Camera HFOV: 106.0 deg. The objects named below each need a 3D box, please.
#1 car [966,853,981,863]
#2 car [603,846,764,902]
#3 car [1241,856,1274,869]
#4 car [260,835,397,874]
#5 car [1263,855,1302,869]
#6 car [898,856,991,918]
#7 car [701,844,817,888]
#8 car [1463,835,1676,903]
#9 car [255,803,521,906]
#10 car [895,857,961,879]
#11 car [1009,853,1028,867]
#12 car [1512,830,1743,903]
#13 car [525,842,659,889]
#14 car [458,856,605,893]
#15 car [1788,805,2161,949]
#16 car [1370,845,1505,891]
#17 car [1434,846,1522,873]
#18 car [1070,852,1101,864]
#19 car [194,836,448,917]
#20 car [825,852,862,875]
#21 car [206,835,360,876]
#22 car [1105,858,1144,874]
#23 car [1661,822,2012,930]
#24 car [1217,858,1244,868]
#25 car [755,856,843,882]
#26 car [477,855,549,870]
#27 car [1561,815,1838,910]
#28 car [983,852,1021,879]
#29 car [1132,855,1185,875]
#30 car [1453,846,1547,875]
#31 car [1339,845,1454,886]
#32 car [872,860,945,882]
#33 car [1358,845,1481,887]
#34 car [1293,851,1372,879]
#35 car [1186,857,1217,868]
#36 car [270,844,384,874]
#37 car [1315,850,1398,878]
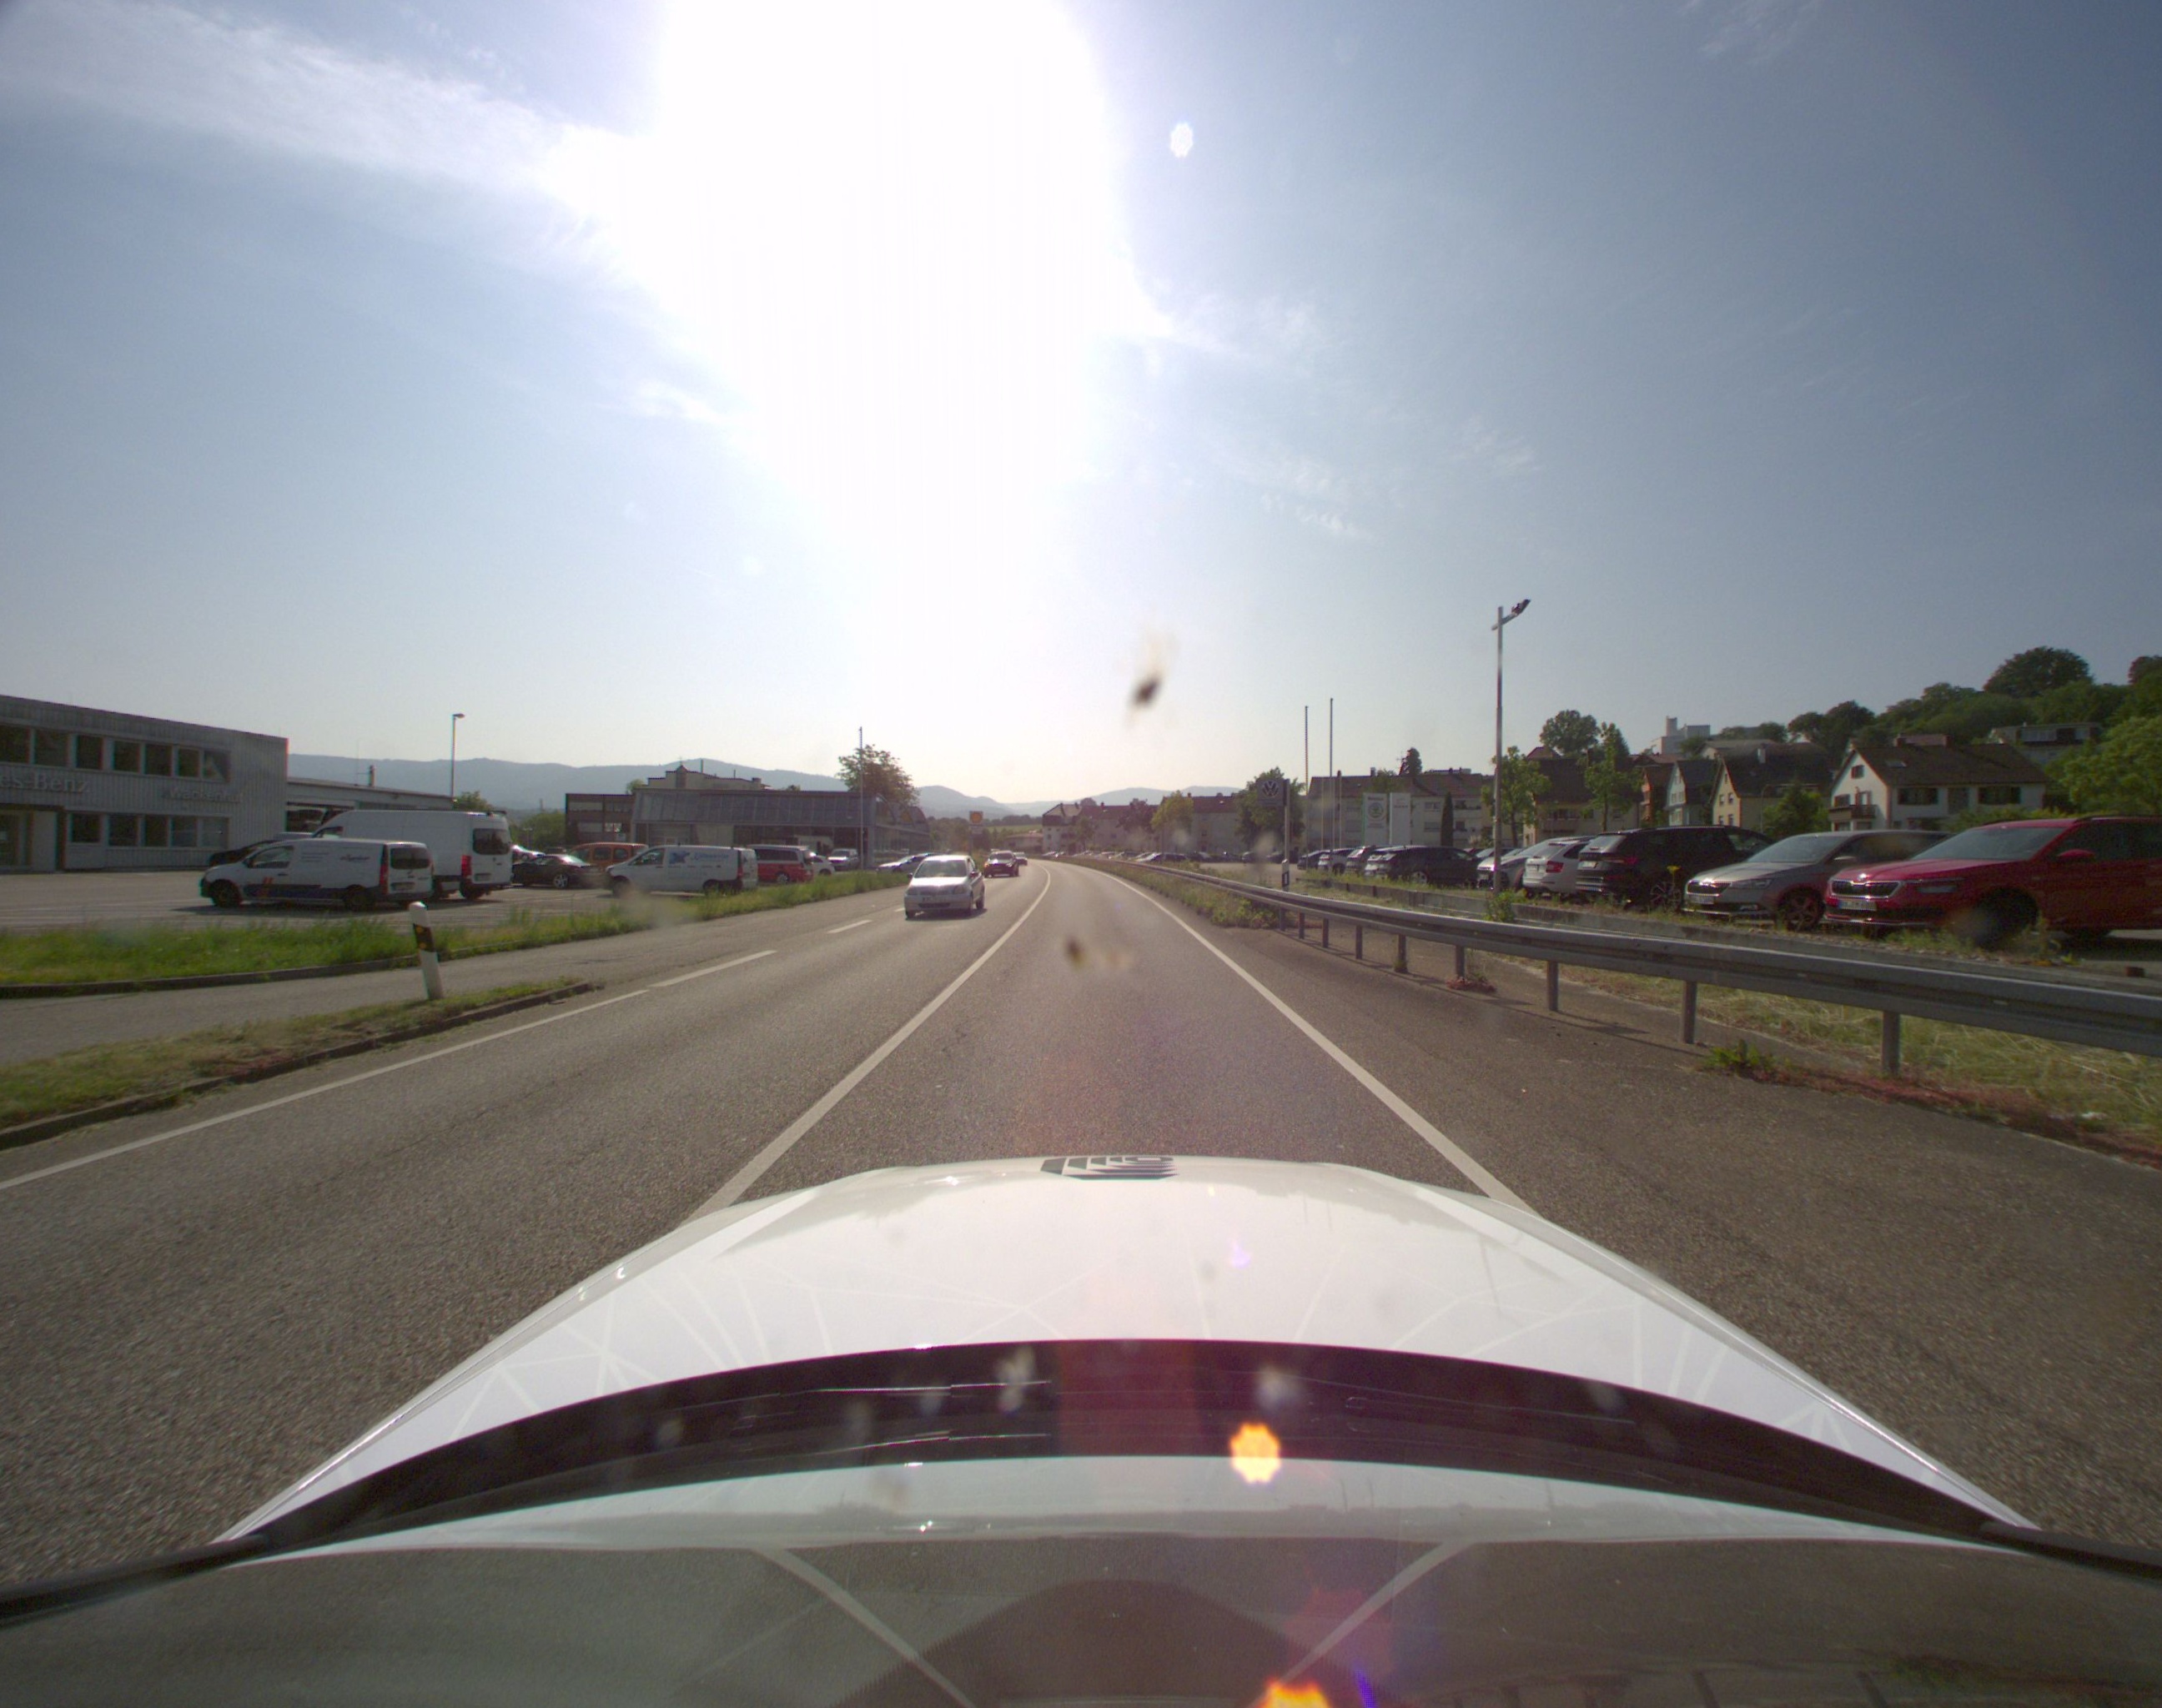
[{"bbox_3d":[-21.800,0.812,165.158,1.922,1.885,4.874,-1,0,-22],"label":"car"},{"bbox_3d":[-14.199,0.696,29.332,4.660,1.858,2.141,1,0,-3],"label":"car"},{"bbox_3d":[21.336,1.038,98.441,3.778,1.521,1.640,0,-1,-32],"label":"car"},{"bbox_3d":[-36.779,0.035,39.916,4.801,1.854,1.952,0,0,-1],"label":"car"},{"bbox_3d":[23.649,0.991,95.582,4.509,1.600,1.824,0,-1,-29],"label":"car"},{"bbox_3d":[-3.516,0.810,21.597,1.671,1.473,3.709,-2,0,2],"label":"car"},{"bbox_3d":[-15.783,0.585,40.164,4.781,1.981,2.226,2,0,-3],"label":"car"},{"bbox_3d":[12.634,0.378,21.248,4.434,1.601,1.854,-1,-1,-1],"label":"car"},{"bbox_3d":[-20.275,0.029,24.059,5.704,2.745,2.284,2,-1,-1],"label":"car"},{"bbox_3d":[-10.861,0.969,57.889,4.256,1.507,1.961,0,0,-43],"label":"car"},{"bbox_3d":[-6.993,0.684,90.666,1.752,1.474,4.272,-2,0,-10],"label":"car"},{"bbox_3d":[12.304,0.294,18.565,4.014,1.486,1.726,-1,-1,7],"label":"car"},{"bbox_3d":[-20.777,0.481,34.755,4.370,1.808,1.999,2,0,-3],"label":"car"},{"bbox_3d":[-21.259,0.761,31.652,4.370,1.319,1.797,1,0,-3],"label":"car"},{"bbox_3d":[11.483,0.253,9.934,4.065,1.552,1.783,-1,-1,3],"label":"car"},{"bbox_3d":[12.394,0.492,28.470,3.971,1.494,1.731,-1,-1,2],"label":"car"},{"bbox_3d":[25.431,0.341,52.272,4.720,1.565,1.931,-1,-1,0],"label":"car"},{"bbox_3d":[0.623,0.545,116.608,4.313,1.640,2.136,-1,-1,-6],"label":"car"},{"bbox_3d":[-19.278,0.562,20.847,4.434,1.840,1.985,2,-1,-3],"label":"car"},{"bbox_3d":[-19.071,0.730,65.657,1.800,1.713,4.405,0,1,-1],"label":"car"},{"bbox_3d":[-36.727,0.067,37.589,4.801,1.854,2.210,0,0,-1],"label":"car"},{"bbox_3d":[4.639,1.242,87.169,3.981,1.640,1.884,-1,-1,-6],"label":"car"},{"bbox_3d":[11.349,0.331,12.455,3.715,1.459,1.666,-1,-1,3],"label":"car"},{"bbox_3d":[20.024,1.207,109.165,1.599,1.186,3.627,0,-1,-30],"label":"car"},{"bbox_3d":[-15.720,0.833,45.477,4.253,1.403,1.875,2,-2,-43],"label":"car"},{"bbox_3d":[-48.652,0.746,69.798,4.797,1.290,1.909,0,0,1],"label":"car"},{"bbox_3d":[11.819,0.180,15.815,3.857,1.663,1.844,-1,-1,7],"label":"car"},{"bbox_3d":[-5.063,0.722,52.952,1.804,1.630,4.544,-2,0,2],"label":"car"},{"bbox_3d":[6.358,0.894,67.239,4.151,1.491,1.729,-2,-1,-4],"label":"car"},{"bbox_3d":[25.405,0.397,49.460,4.720,1.565,1.931,-1,-1,0],"label":"car"},{"bbox_3d":[12.976,0.486,33.661,4.067,1.610,1.790,-1,-1,-3],"label":"car"},{"bbox_3d":[-11.338,1.079,53.631,4.419,1.367,1.831,0,0,-43],"label":"car"},{"bbox_3d":[12.896,0.456,31.219,3.974,1.494,1.790,-1,-1,0],"label":"car"},{"bbox_3d":[15.047,0.654,48.769,4.150,1.516,1.821,-1,-1,-6],"label":"car"},{"bbox_3d":[16.835,1.224,114.248,1.920,1.405,4.481,0,-1,-30],"label":"car"},{"bbox_3d":[-40.819,0.225,44.260,1.801,1.566,4.827,0,1,-2],"label":"car"},{"bbox_3d":[15.512,0.550,46.050,4.081,1.516,1.823,-1,-1,-2],"label":"car"}]
